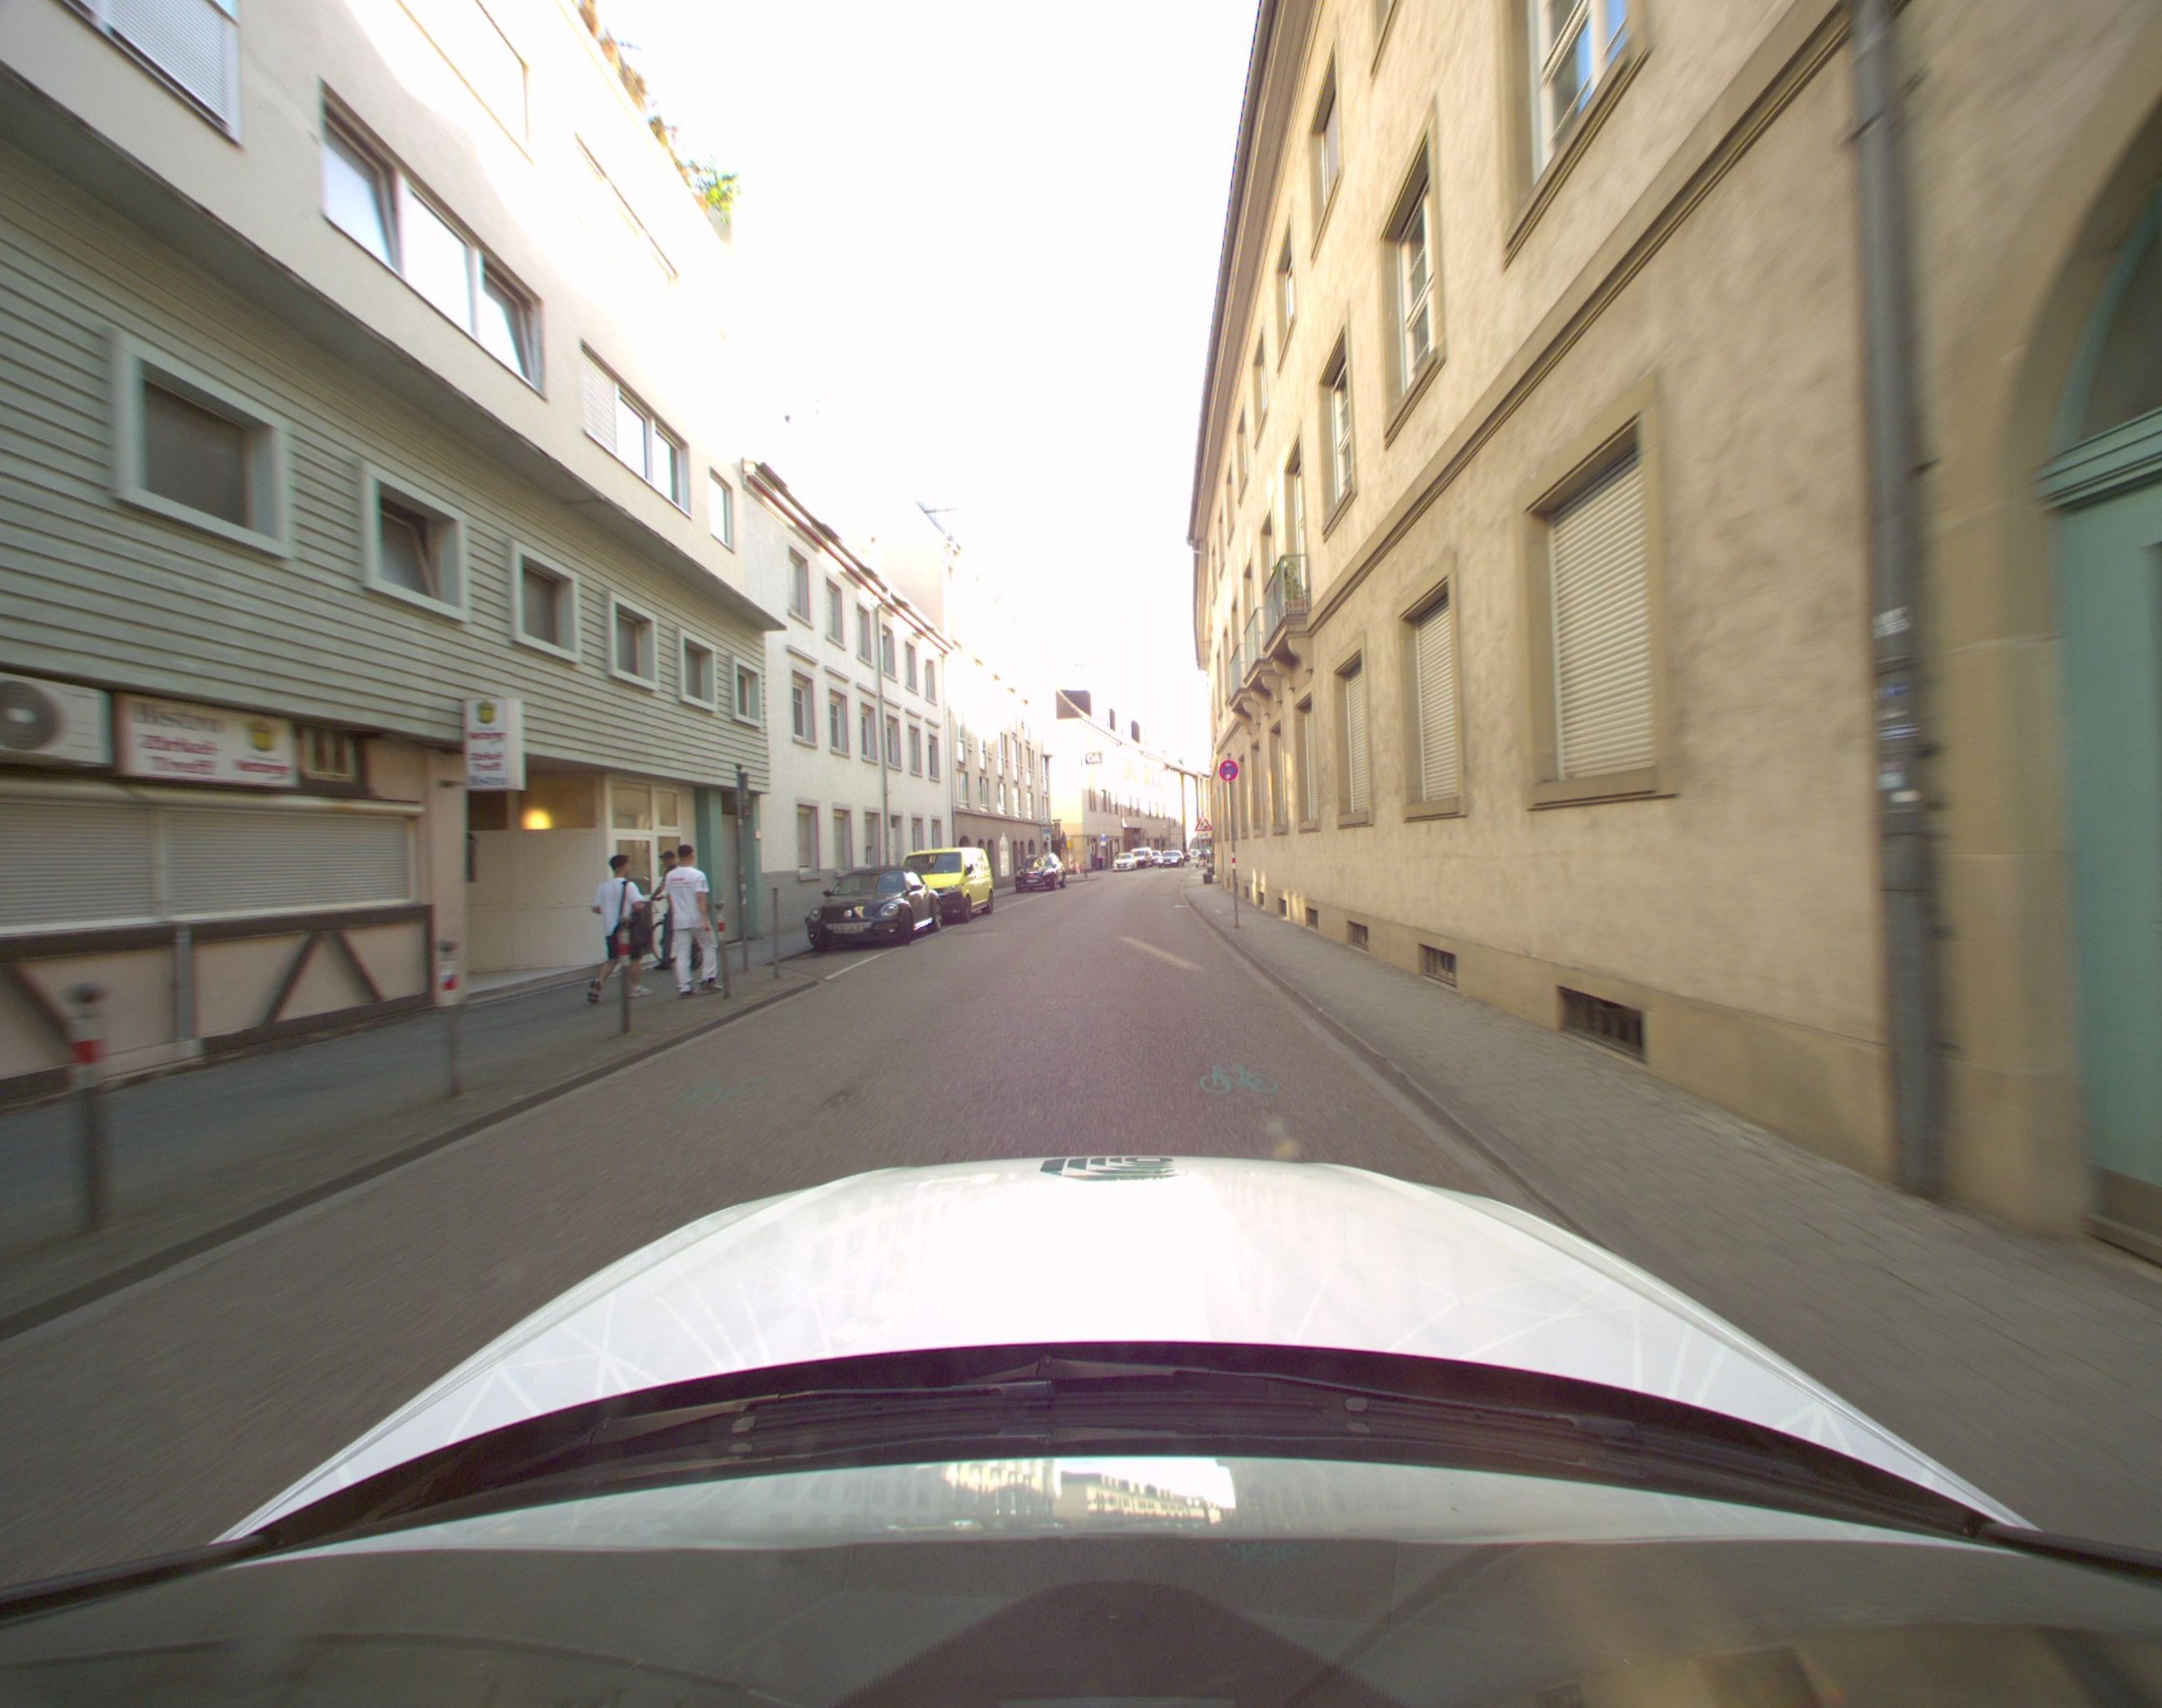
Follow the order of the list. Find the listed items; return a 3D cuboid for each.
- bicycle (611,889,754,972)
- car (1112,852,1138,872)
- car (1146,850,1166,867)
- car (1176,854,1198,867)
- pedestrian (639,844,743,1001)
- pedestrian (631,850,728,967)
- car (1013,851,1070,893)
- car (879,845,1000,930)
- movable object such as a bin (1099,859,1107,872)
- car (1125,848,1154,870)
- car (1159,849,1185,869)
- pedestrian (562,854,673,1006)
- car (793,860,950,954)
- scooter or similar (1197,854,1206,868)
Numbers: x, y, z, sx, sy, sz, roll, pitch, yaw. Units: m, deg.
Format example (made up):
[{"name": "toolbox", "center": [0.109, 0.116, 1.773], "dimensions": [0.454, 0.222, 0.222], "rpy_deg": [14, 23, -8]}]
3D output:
[{"name": "bicycle", "center": [-6.215, 1.171, 12.687], "dimensions": [2.109, 1.163, 0.828], "rpy_deg": [-2, 0, 25]}, {"name": "car", "center": [3.734, 0.615, 68.434], "dimensions": [1.660, 1.507, 3.805], "rpy_deg": [-4, 0, 10]}, {"name": "car", "center": [7.394, 0.428, 80.082], "dimensions": [1.261, 1.507, 3.416], "rpy_deg": [-4, 0, 16]}, {"name": "car", "center": [13.038, 0.779, 100.039], "dimensions": [1.865, 1.332, 4.121], "rpy_deg": [-3, 0, 19]}, {"name": "pedestrian", "center": [-4.583, 0.771, 9.624], "dimensions": [0.695, 1.734, 0.830], "rpy_deg": [-4, 0, 3]}, {"name": "pedestrian", "center": [-6.258, 0.831, 12.702], "dimensions": [1.068, 1.728, 0.806], "rpy_deg": [-3, 0, 25]}, {"name": "car", "center": [-1.793, 0.811, 38.167], "dimensions": [1.730, 1.711, 4.200], "rpy_deg": [-5, 0, 8]}, {"name": "car", "center": [-3.604, 0.801, 21.733], "dimensions": [1.871, 1.866, 4.870], "rpy_deg": [-5, 0, 4]}, {"name": "movable object such as a bin", "center": [1.926, 0.966, 69.898], "dimensions": [0.605, 1.060, 0.714], "rpy_deg": [0, 0, 7]}, {"name": "car", "center": [5.399, 0.431, 74.122], "dimensions": [1.658, 1.818, 4.570], "rpy_deg": [-4, 0, 15]}, {"name": "car", "center": [7.887, 0.446, 70.807], "dimensions": [1.709, 1.578, 4.189], "rpy_deg": [-2, 0, 0]}, {"name": "pedestrian", "center": [-5.408, 0.847, 9.548], "dimensions": [0.670, 1.669, 0.895], "rpy_deg": [-3, 0, 3]}, {"name": "car", "center": [-4.006, 0.950, 16.338], "dimensions": [1.812, 1.486, 4.079], "rpy_deg": [-5, 0, 2]}, {"name": "scooter or similar", "center": [10.159, 0.577, 68.695], "dimensions": [0.765, 1.136, 0.270], "rpy_deg": [0, 0, 12]}]
